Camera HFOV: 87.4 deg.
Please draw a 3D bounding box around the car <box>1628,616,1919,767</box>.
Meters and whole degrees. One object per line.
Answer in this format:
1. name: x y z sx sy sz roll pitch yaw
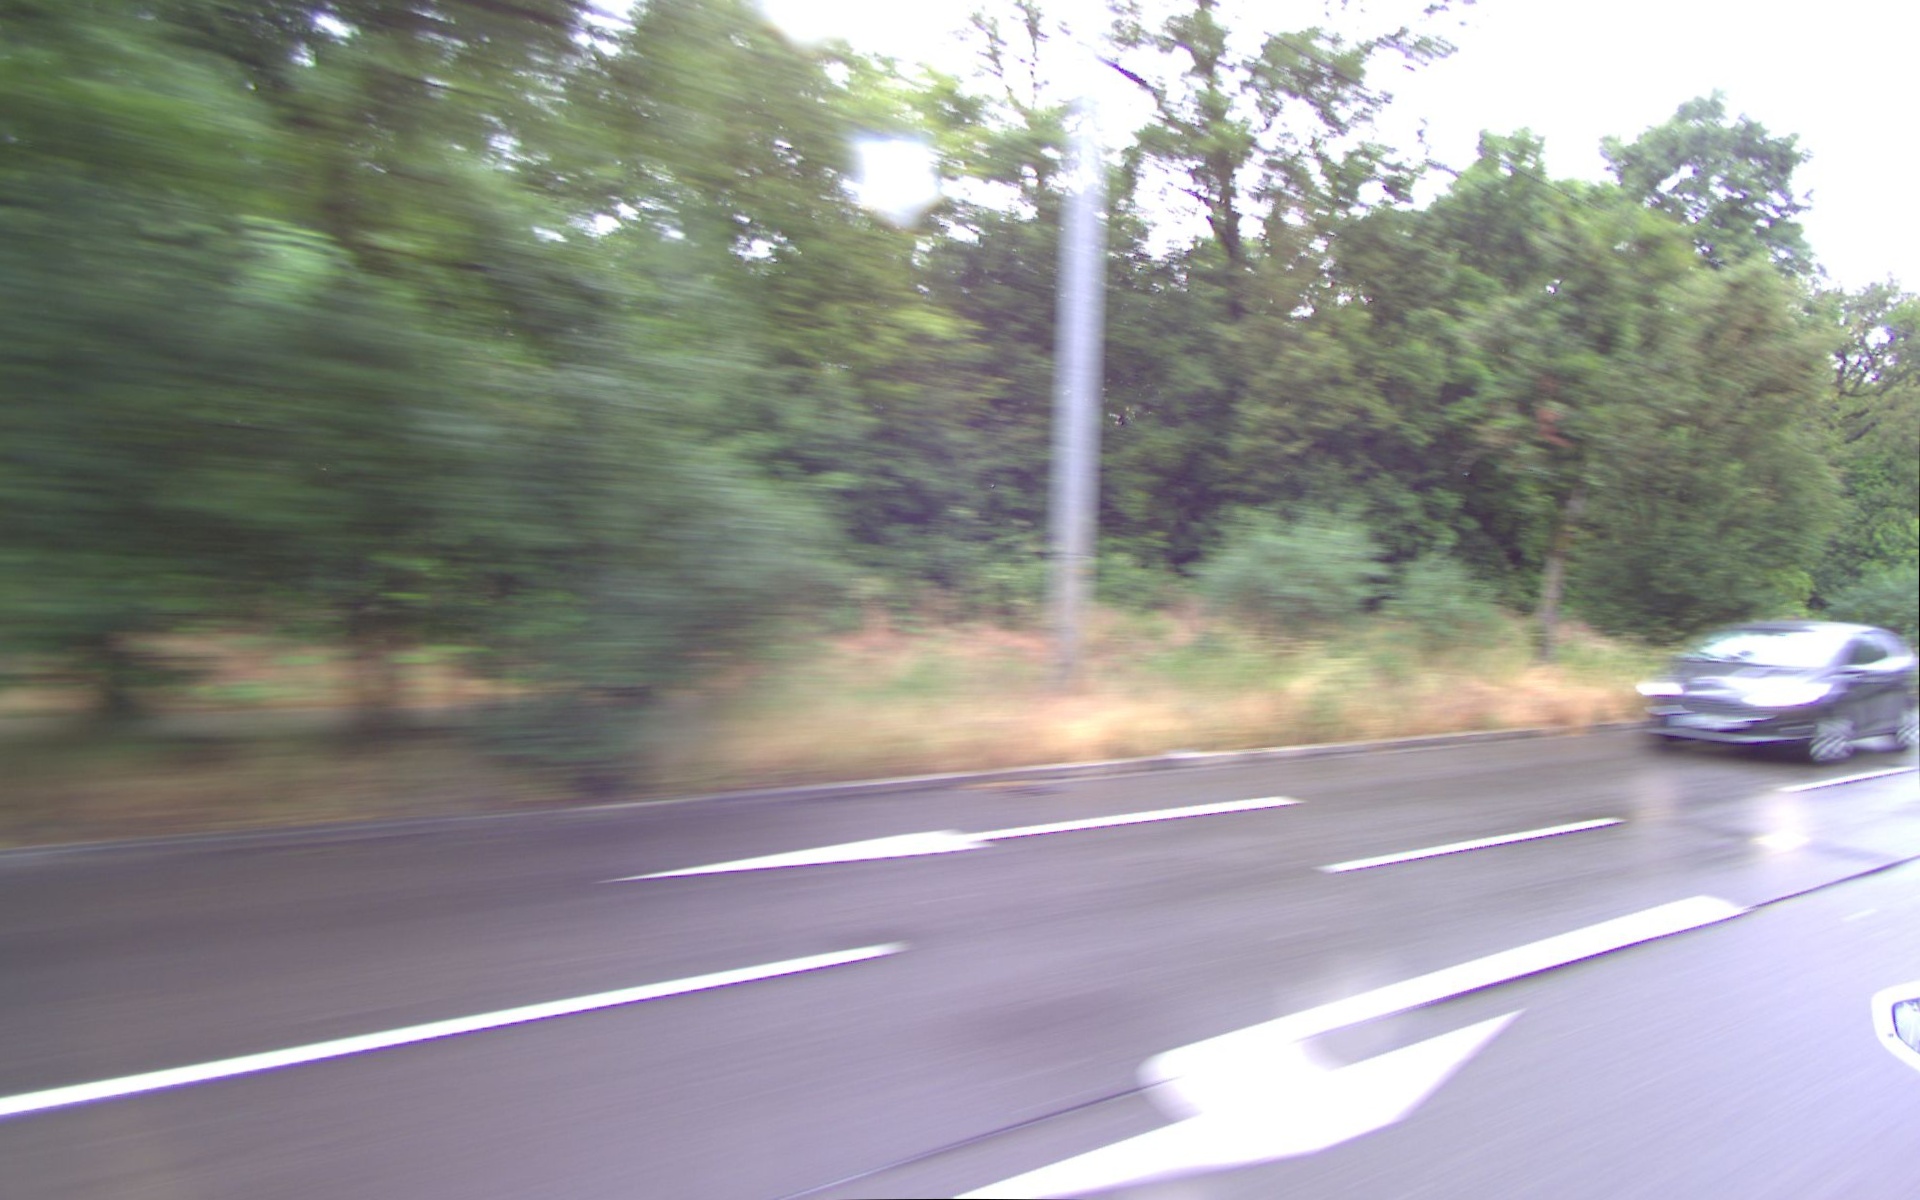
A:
1. car: 9.559 0.941 11.578 3.946 1.460 1.590 1 0 -32
